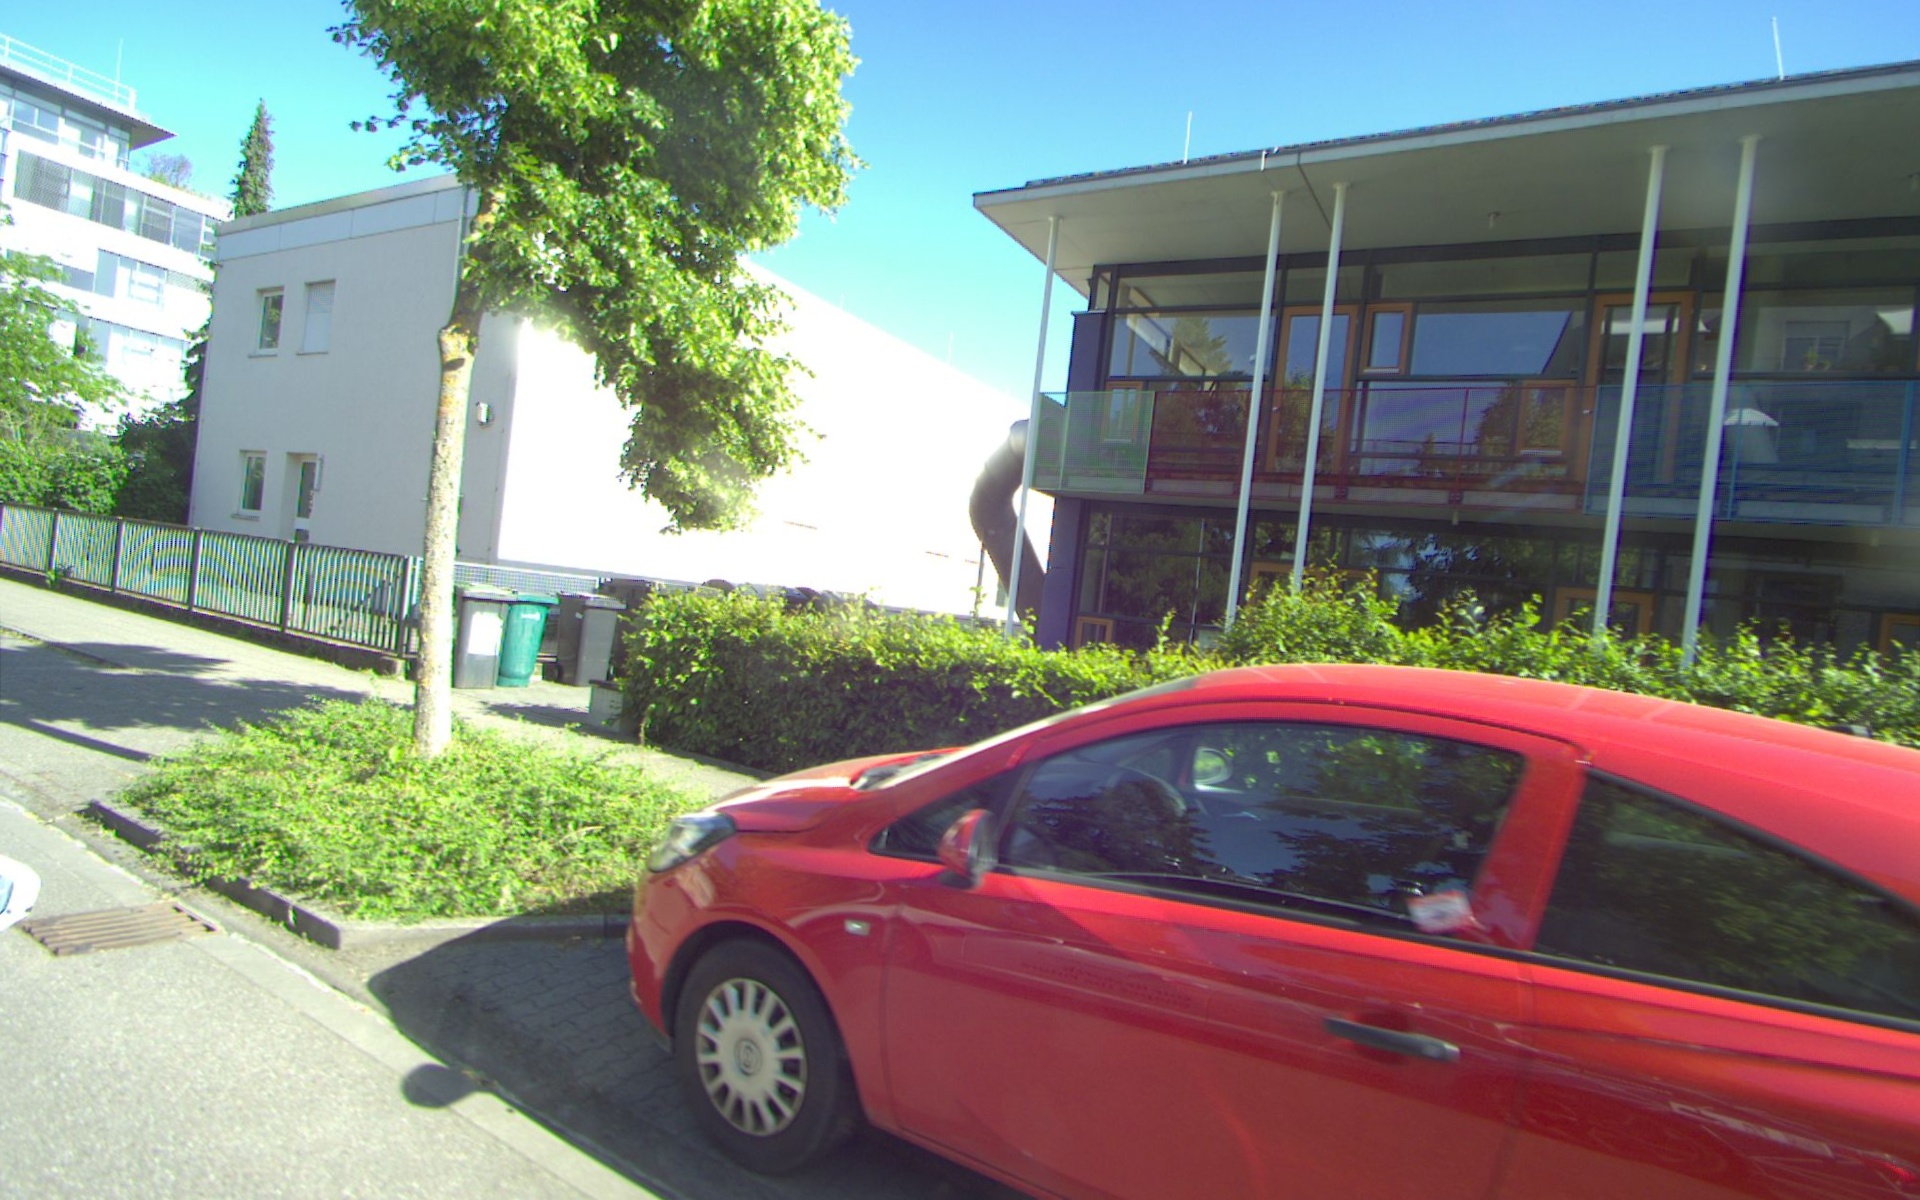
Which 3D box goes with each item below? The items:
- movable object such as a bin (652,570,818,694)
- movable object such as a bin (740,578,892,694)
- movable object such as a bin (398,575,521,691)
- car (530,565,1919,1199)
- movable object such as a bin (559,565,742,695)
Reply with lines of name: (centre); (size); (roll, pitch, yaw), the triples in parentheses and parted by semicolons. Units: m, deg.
movable object such as a bin: (-3.080, 0.442, 13.805); (1.605, 1.466, 1.367); (7, 0, 32)
movable object such as a bin: (-2.120, 0.538, 14.844); (1.605, 1.466, 1.331); (7, 0, 32)
movable object such as a bin: (-5.182, 0.343, 10.425); (0.963, 1.083, 0.633); (6, -1, 31)
car: (0.831, 0.880, 2.727); (3.782, 1.523, 1.677); (6, 1, 31)
movable object such as a bin: (-3.865, 0.381, 12.612); (1.605, 1.374, 1.368); (7, 0, 32)
